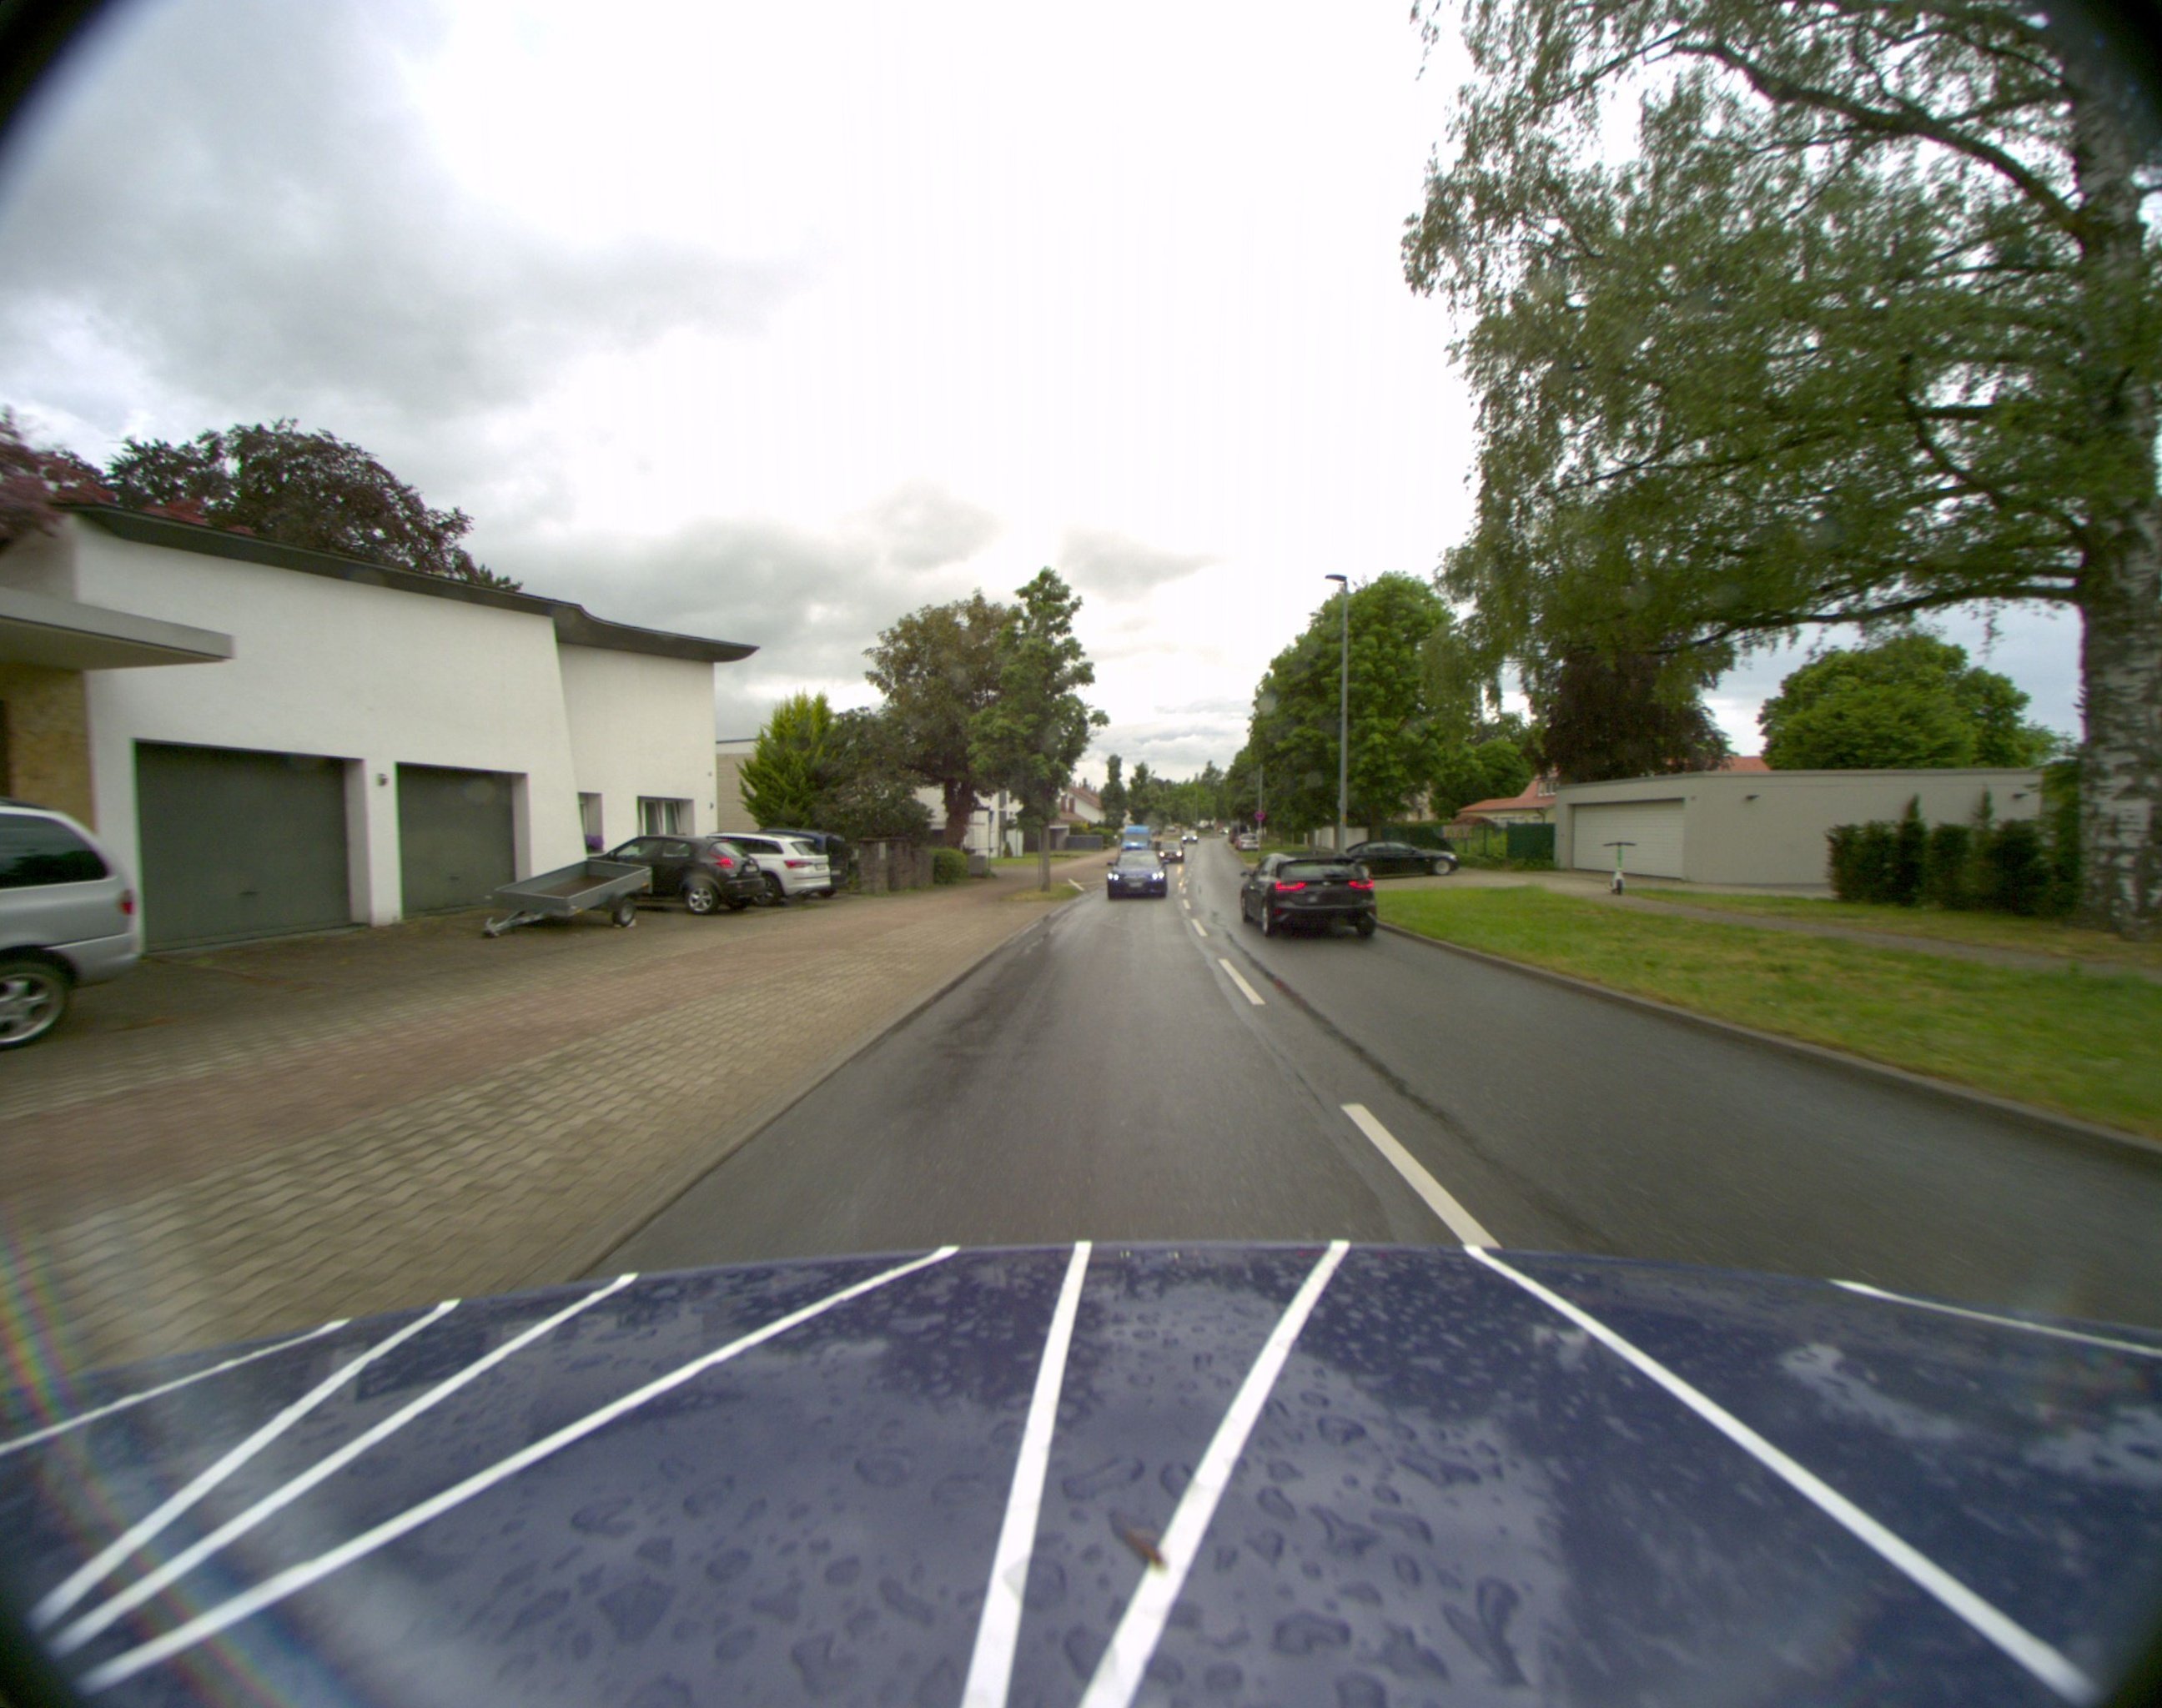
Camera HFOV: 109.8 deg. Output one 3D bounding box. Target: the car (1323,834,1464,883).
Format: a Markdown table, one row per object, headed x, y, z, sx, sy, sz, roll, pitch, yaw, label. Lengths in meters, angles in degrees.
| x | y | z | sx | sy | sz | roll | pitch | yaw | label |
| --- | --- | --- | --- | --- | --- | --- | --- | --- | --- |
| 11.347 | 0.152 | 27.856 | 4.436 | 1.409 | 1.756 | -4 | 1 | 9 | car |

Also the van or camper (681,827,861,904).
| x | y | z | sx | sy | sz | roll | pitch | yaw | label |
| --- | --- | --- | --- | --- | --- | --- | --- | --- | --- |
| -8.311 | 0.267 | 20.568 | 4.021 | 1.778 | 1.948 | 3 | 2 | 8 | van or camper |

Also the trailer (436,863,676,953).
| x | y | z | sx | sy | sz | roll | pitch | yaw | label |
| --- | --- | --- | --- | --- | --- | --- | --- | --- | --- |
| -8.058 | 0.760 | 12.030 | 1.423 | 0.916 | 3.274 | 7 | 2 | 0 | trailer |

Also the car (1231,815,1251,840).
| x | y | z | sx | sy | sz | roll | pitch | yaw | label |
| --- | --- | --- | --- | --- | --- | --- | --- | --- | --- |
| 19.357 | -3.232 | 91.749 | 2.246 | 2.823 | 5.047 | -2 | 3 | 12 | car |

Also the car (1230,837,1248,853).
| x | y | z | sx | sy | sz | roll | pitch | yaw | label |
| --- | --- | --- | --- | --- | --- | --- | --- | --- | --- |
| 15.464 | -0.882 | 74.328 | 1.705 | 1.316 | 3.845 | -3 | 2 | 12 | car |

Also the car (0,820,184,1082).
| x | y | z | sx | sy | sz | roll | pitch | yaw | label |
| --- | --- | --- | --- | --- | --- | --- | --- | --- | --- |
| -8.158 | 0.684 | 3.612 | 1.798 | 1.747 | 4.942 | -1 | 1 | 1 | car |

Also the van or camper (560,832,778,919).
| x | y | z | sx | sy | sz | roll | pitch | yaw | label |
| --- | --- | --- | --- | --- | --- | --- | --- | --- | --- |
| -8.180 | 0.390 | 15.315 | 3.410 | 1.547 | 1.769 | 2 | 2 | 0 | van or camper |

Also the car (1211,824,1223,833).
| x | y | z | sx | sy | sz | roll | pitch | yaw | label |
| --- | --- | --- | --- | --- | --- | --- | --- | --- | --- |
| 23.258 | -4.378 | 129.922 | 1.894 | 1.531 | 4.003 | -2 | 1 | 13 | car |

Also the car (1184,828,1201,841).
| x | y | z | sx | sy | sz | roll | pitch | yaw | label |
| --- | --- | --- | --- | --- | --- | --- | --- | --- | --- |
| 14.144 | -2.501 | 96.332 | 1.894 | 1.531 | 4.002 | -2 | 1 | 11 | car |

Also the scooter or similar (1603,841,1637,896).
| x | y | z | sx | sy | sz | roll | pitch | yaw | label |
| --- | --- | --- | --- | --- | --- | --- | --- | --- | --- |
| 11.883 | 0.295 | 16.779 | 0.424 | 1.151 | 1.492 | -2 | 1 | 29 | scooter or similar |

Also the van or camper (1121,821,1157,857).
| x | y | z | sx | sy | sz | roll | pitch | yaw | label |
| --- | --- | --- | --- | --- | --- | --- | --- | --- | --- |
| 4.485 | -1.195 | 57.932 | 2.147 | 2.594 | 5.784 | 1 | 3 | 10 | van or camper |

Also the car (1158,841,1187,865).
| x | y | z | sx | sy | sz | roll | pitch | yaw | label |
| --- | --- | --- | --- | --- | --- | --- | --- | --- | --- |
| 6.551 | -0.079 | 54.067 | 1.845 | 1.531 | 4.002 | -2 | 1 | 10 | car |

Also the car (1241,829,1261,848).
| x | y | z | sx | sy | sz | roll | pitch | yaw | label |
| --- | --- | --- | --- | --- | --- | --- | --- | --- | --- |
| 15.412 | -1.403 | 69.005 | 1.773 | 1.598 | 4.002 | -1 | 2 | 12 | car |

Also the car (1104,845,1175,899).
| x | y | z | sx | sy | sz | roll | pitch | yaw | label |
| --- | --- | --- | --- | --- | --- | --- | --- | --- | --- |
| 2.012 | 0.521 | 25.072 | 1.894 | 1.531 | 4.002 | -2 | 1 | 10 | car |

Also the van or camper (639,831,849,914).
| x | y | z | sx | sy | sz | roll | pitch | yaw | label |
| --- | --- | --- | --- | --- | --- | --- | --- | --- | --- |
| -7.929 | 0.393 | 18.156 | 3.995 | 1.668 | 2.124 | 3 | 2 | 5 | van or camper |

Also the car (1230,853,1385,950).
| x | y | z | sx | sy | sz | roll | pitch | yaw | label |
| --- | --- | --- | --- | --- | --- | --- | --- | --- | --- |
| 3.962 | 0.744 | 14.011 | 1.758 | 1.432 | 4.157 | -2 | 0 | 3 | car |
